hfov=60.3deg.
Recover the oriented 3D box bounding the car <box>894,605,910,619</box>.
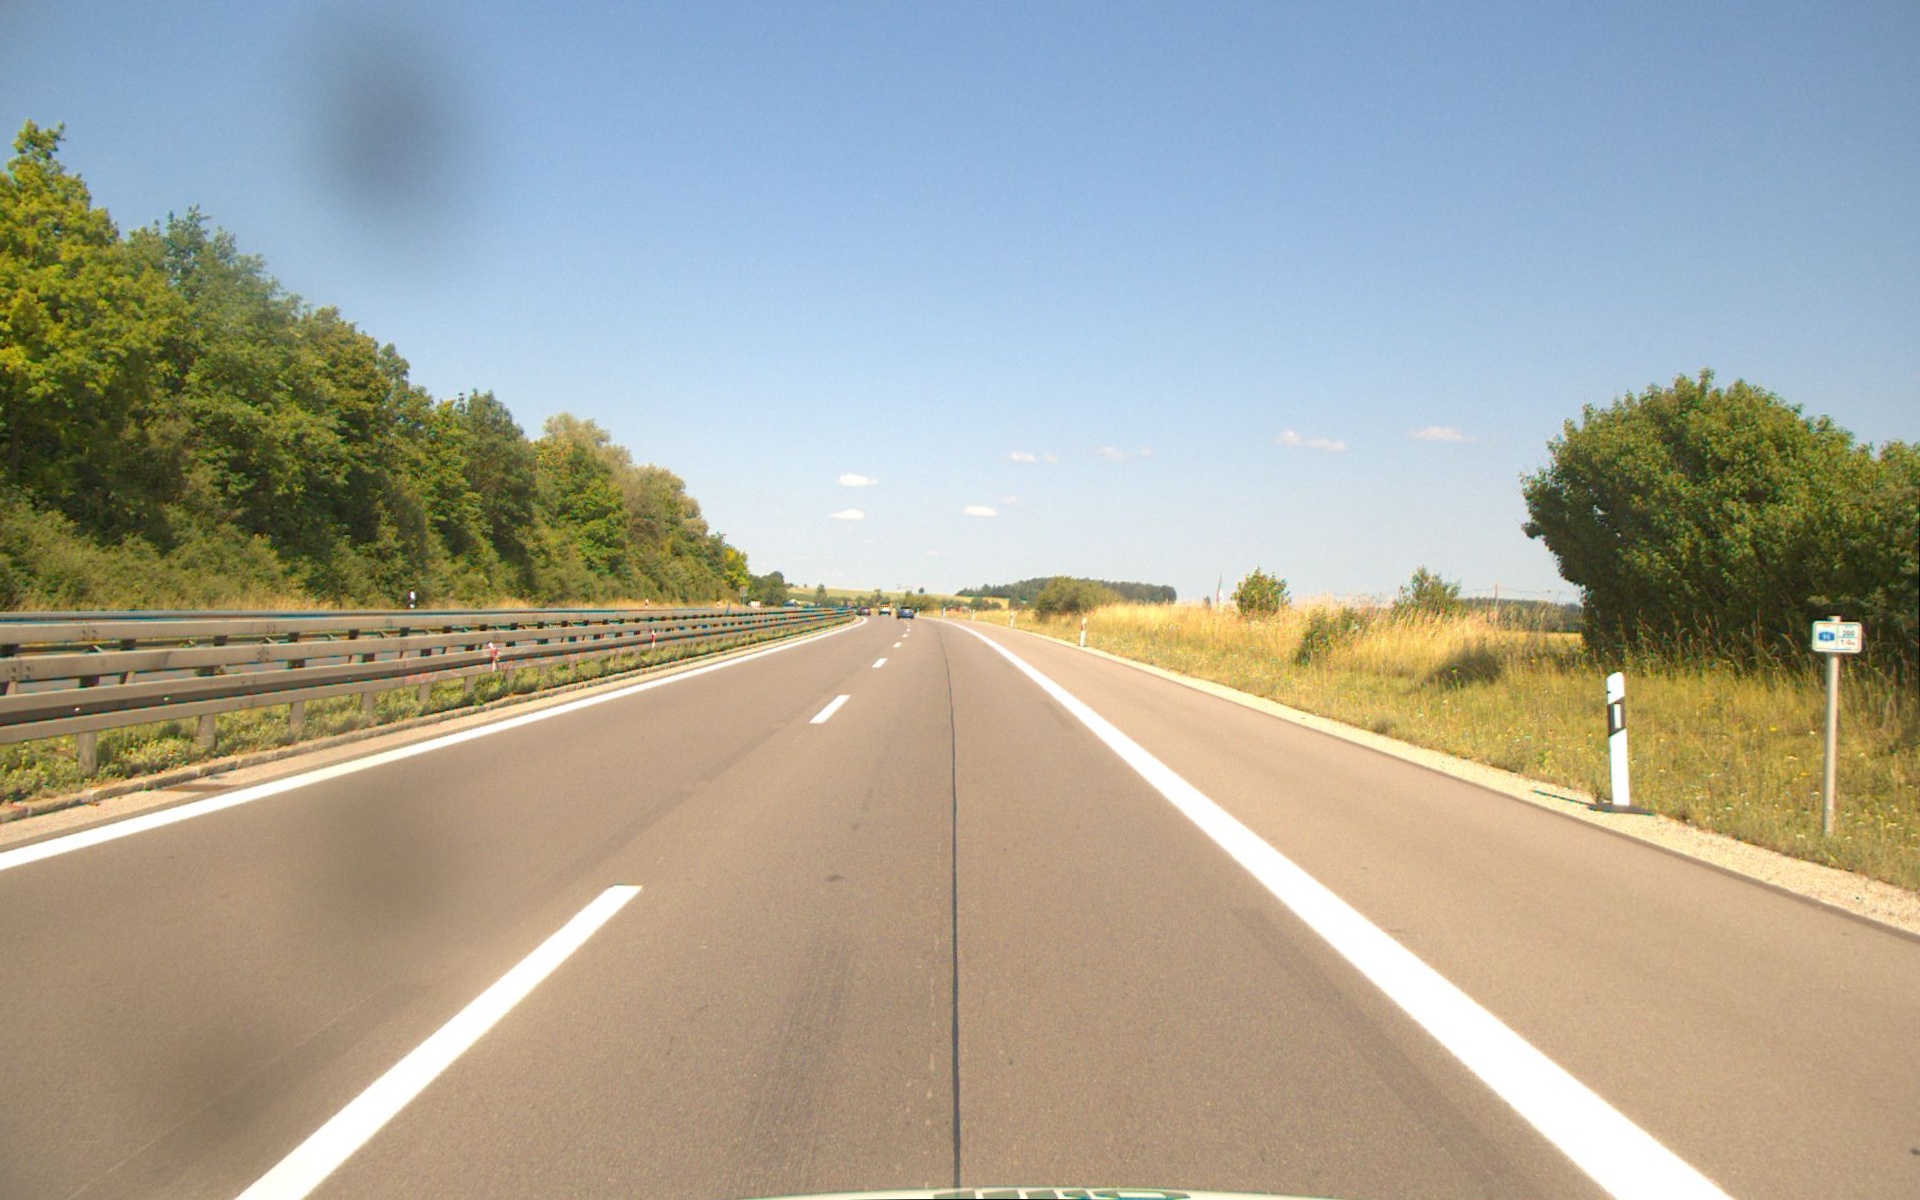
[{"bbox_3d":[-6.190,1.273,176.840,1.642,1.479,3.591,1,-1,-1],"label":"car"}]

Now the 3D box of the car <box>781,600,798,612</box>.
[{"bbox_3d":[-23.463,0.819,228.192,1.953,1.640,4.635,1,0,-2],"label":"car"}]

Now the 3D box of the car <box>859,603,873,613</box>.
[{"bbox_3d":[-14.207,1.187,250.225,1.791,1.479,3.592,1,-1,0],"label":"car"}]
